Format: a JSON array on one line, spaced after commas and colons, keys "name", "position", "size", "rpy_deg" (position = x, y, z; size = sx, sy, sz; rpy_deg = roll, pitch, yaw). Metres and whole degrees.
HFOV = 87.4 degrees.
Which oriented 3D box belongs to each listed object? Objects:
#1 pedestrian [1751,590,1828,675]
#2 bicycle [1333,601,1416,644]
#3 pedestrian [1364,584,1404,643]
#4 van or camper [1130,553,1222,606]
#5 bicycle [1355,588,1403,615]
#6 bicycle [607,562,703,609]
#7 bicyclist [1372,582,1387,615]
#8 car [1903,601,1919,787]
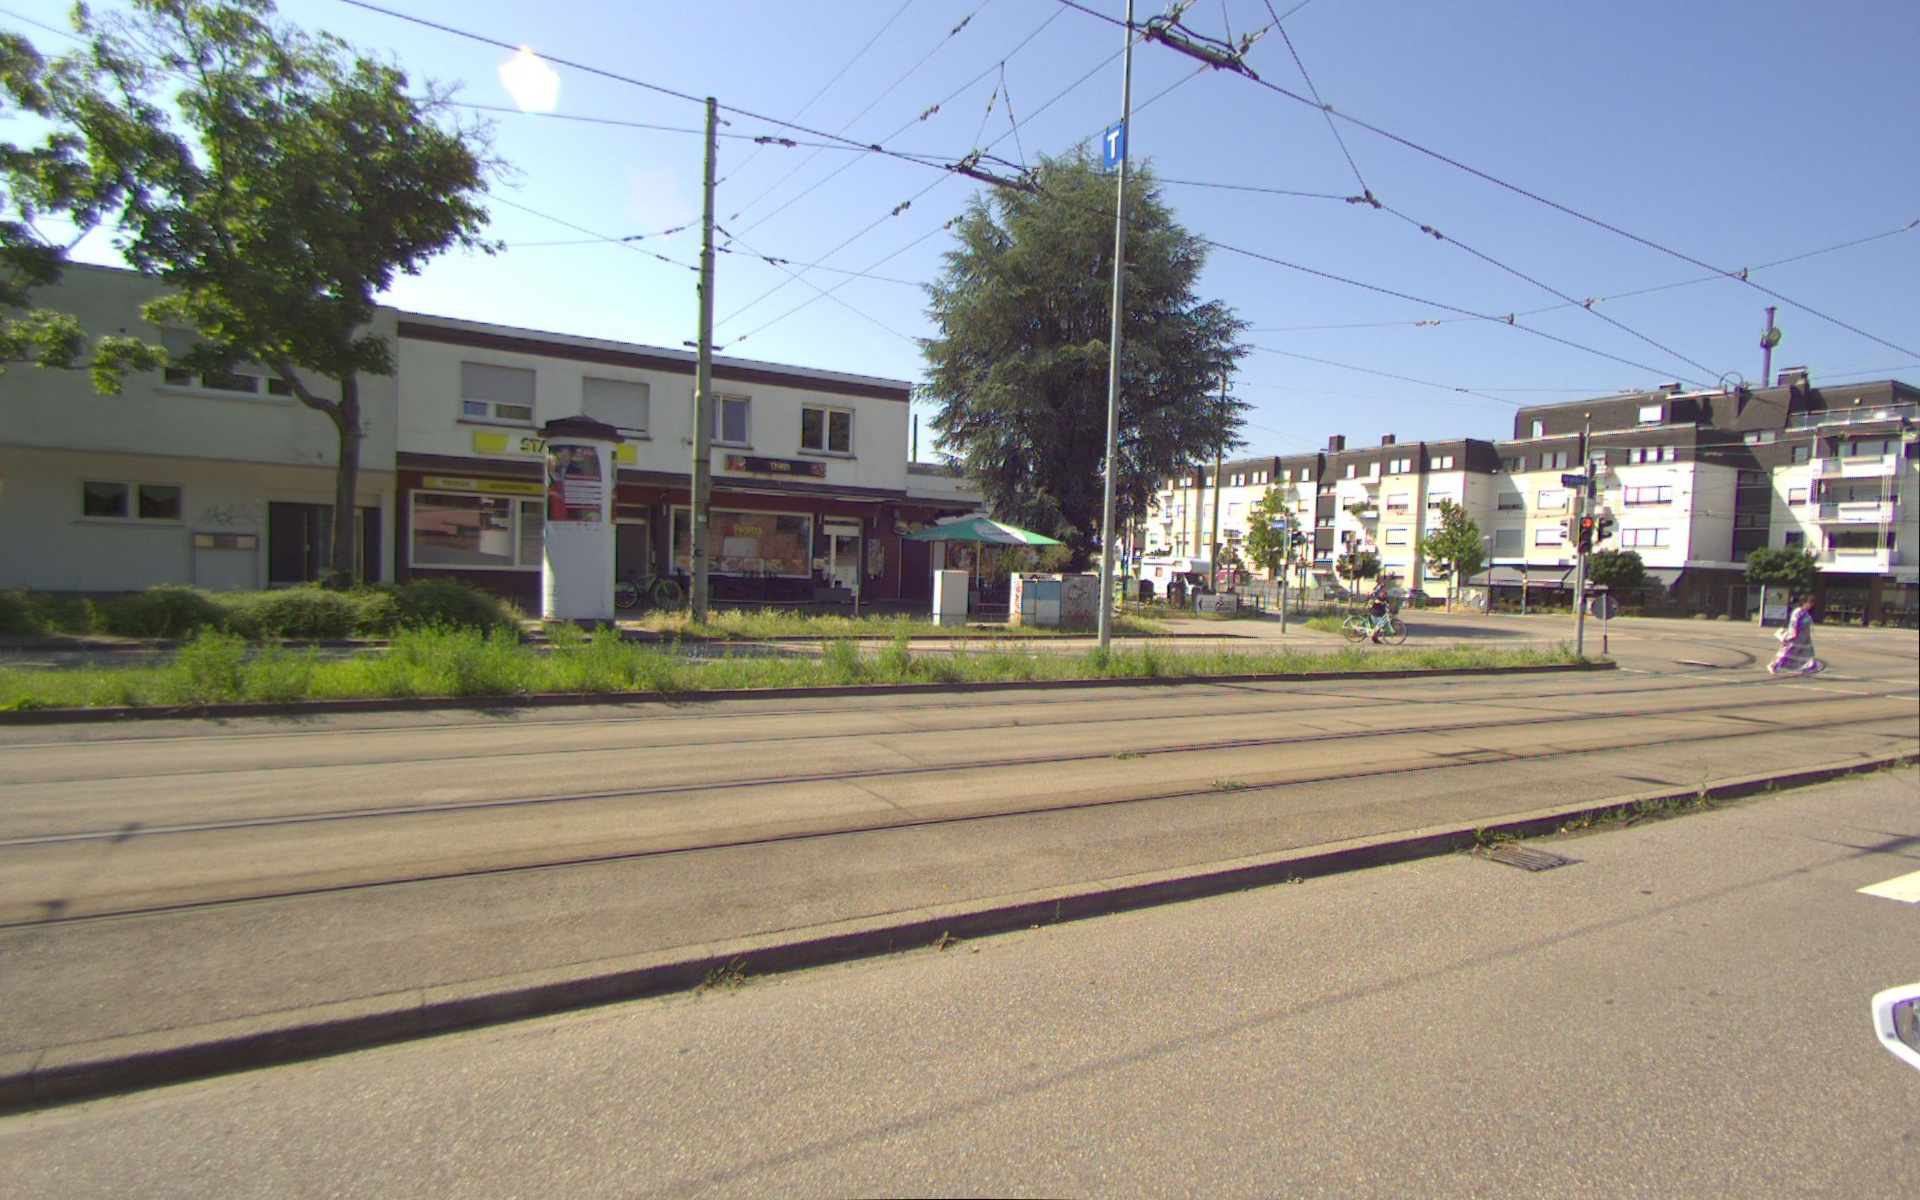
[{"name": "pedestrian", "position": [16.956, 0.660, 20.529], "size": [0.946, 1.673, 0.965], "rpy_deg": [2, 0, -34]}, {"name": "bicycle", "position": [11.571, 0.611, 28.087], "size": [0.705, 1.105, 1.999], "rpy_deg": [0, 2, -44]}, {"name": "pedestrian", "position": [12.006, 0.382, 28.434], "size": [0.671, 1.592, 0.738], "rpy_deg": [2, 2, -44]}, {"name": "van or camper", "position": [13.641, -1.249, 63.805], "size": [2.545, 3.133, 5.657], "rpy_deg": [2, 0, -30]}, {"name": "bicycle", "position": [21.409, 0.075, 51.351], "size": [2.210, 1.314, 0.559], "rpy_deg": [2, 0, 32]}, {"name": "bicycle", "position": [-8.075, -0.357, 26.656], "size": [2.306, 1.167, 0.783], "rpy_deg": [1, 0, -30]}, {"name": "bicyclist", "position": [21.441, -0.089, 51.333], "size": [0.627, 1.634, 0.561], "rpy_deg": [2, 0, 31]}, {"name": "car", "position": [10.155, 0.811, 8.895], "size": [3.759, 1.587, 1.634], "rpy_deg": [0, 1, -30]}]
